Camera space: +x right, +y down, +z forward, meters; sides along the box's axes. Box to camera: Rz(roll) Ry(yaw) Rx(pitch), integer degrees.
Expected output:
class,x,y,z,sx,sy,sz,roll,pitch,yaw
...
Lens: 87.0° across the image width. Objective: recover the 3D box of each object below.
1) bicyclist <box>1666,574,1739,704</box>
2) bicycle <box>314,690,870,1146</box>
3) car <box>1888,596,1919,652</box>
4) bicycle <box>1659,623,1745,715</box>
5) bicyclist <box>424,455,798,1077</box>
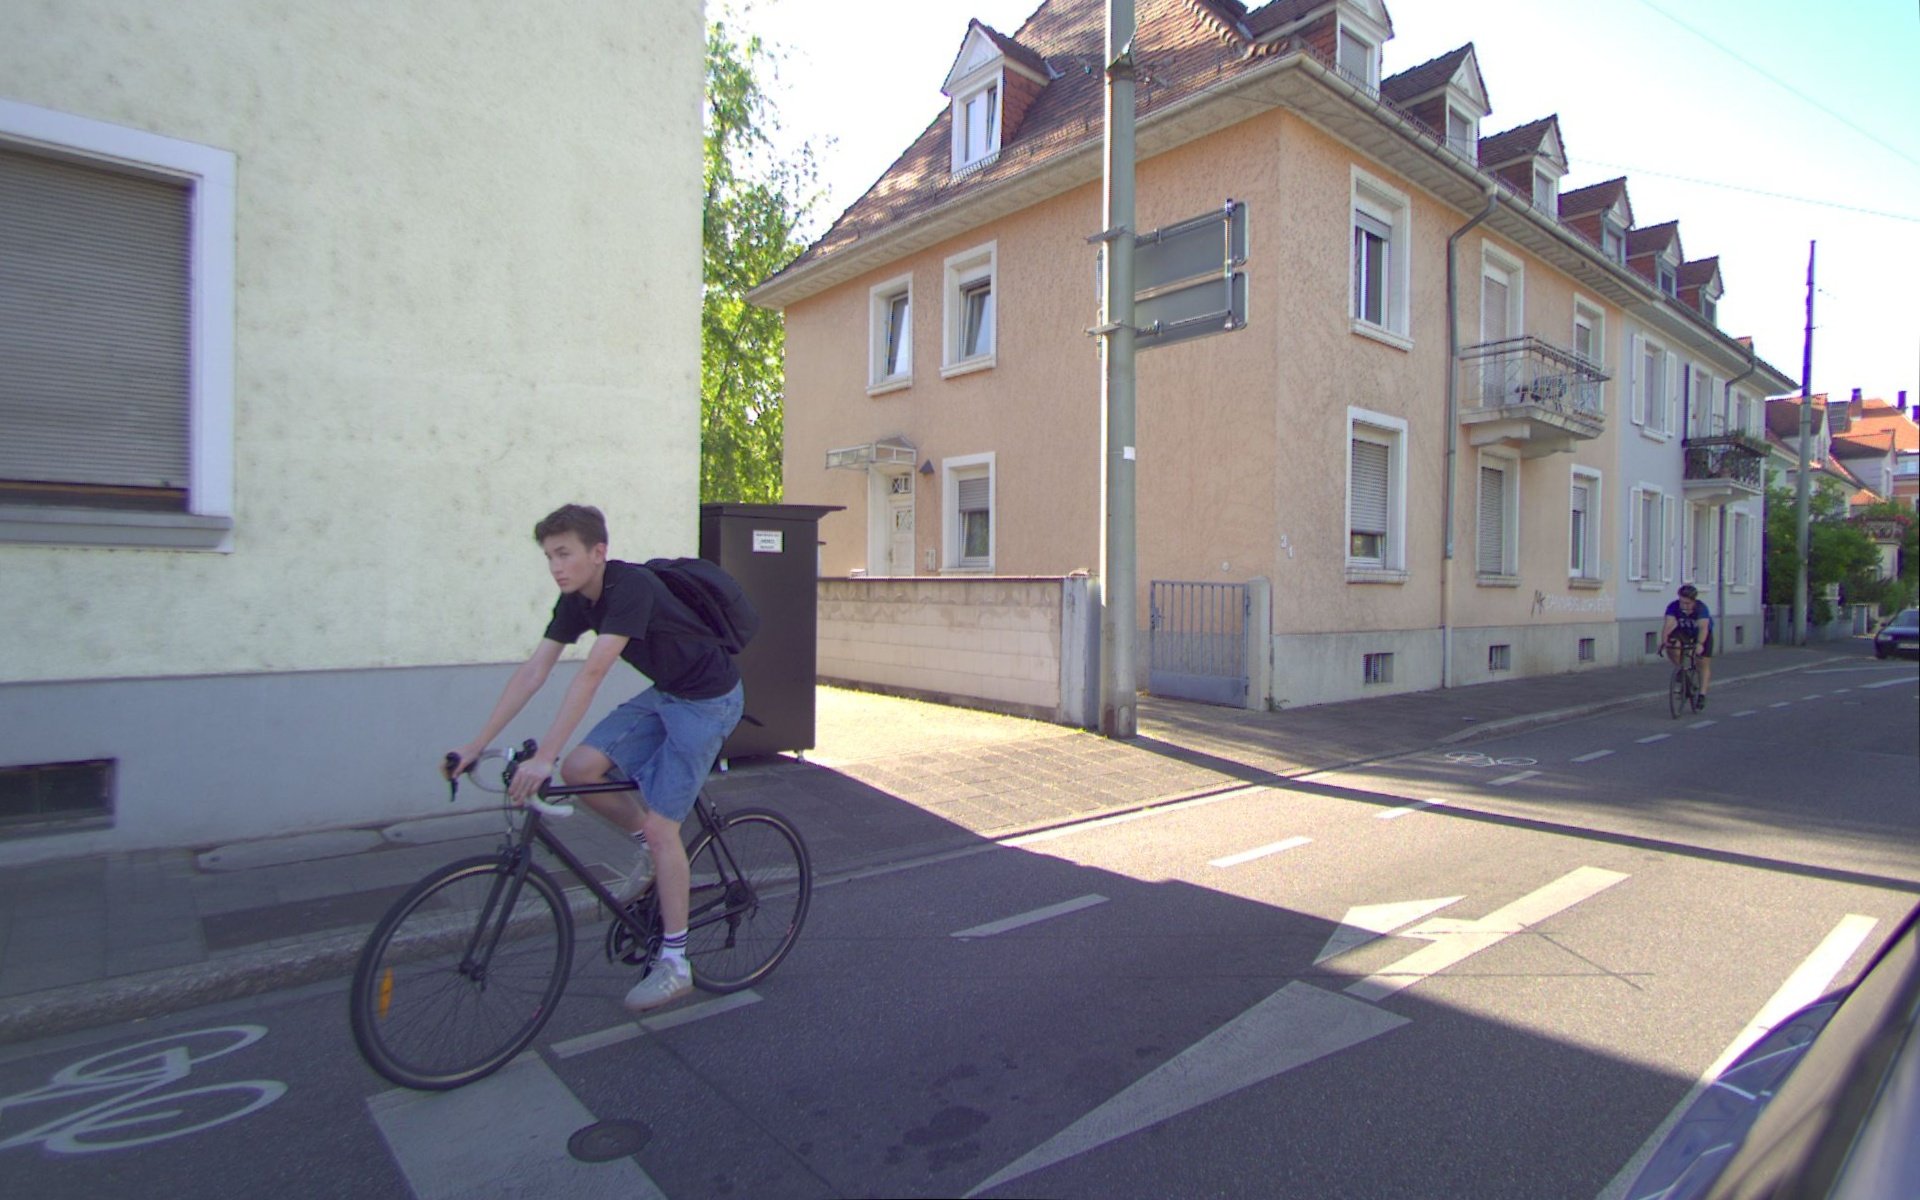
class,x,y,z,sx,sy,sz,roll,pitch,yaw
bicyclist,9.778,0.488,13.319,0.999,1.637,0.561,0,1,-42
bicycle,-1.137,0.905,3.459,0.532,1.029,1.730,1,1,44
car,26.713,0.630,27.397,4.347,1.425,1.866,0,1,-41
bicycle,9.797,0.869,13.337,1.764,1.076,0.550,-1,1,-42
bicyclist,-1.150,0.462,3.438,0.559,1.752,1.067,0,0,43
